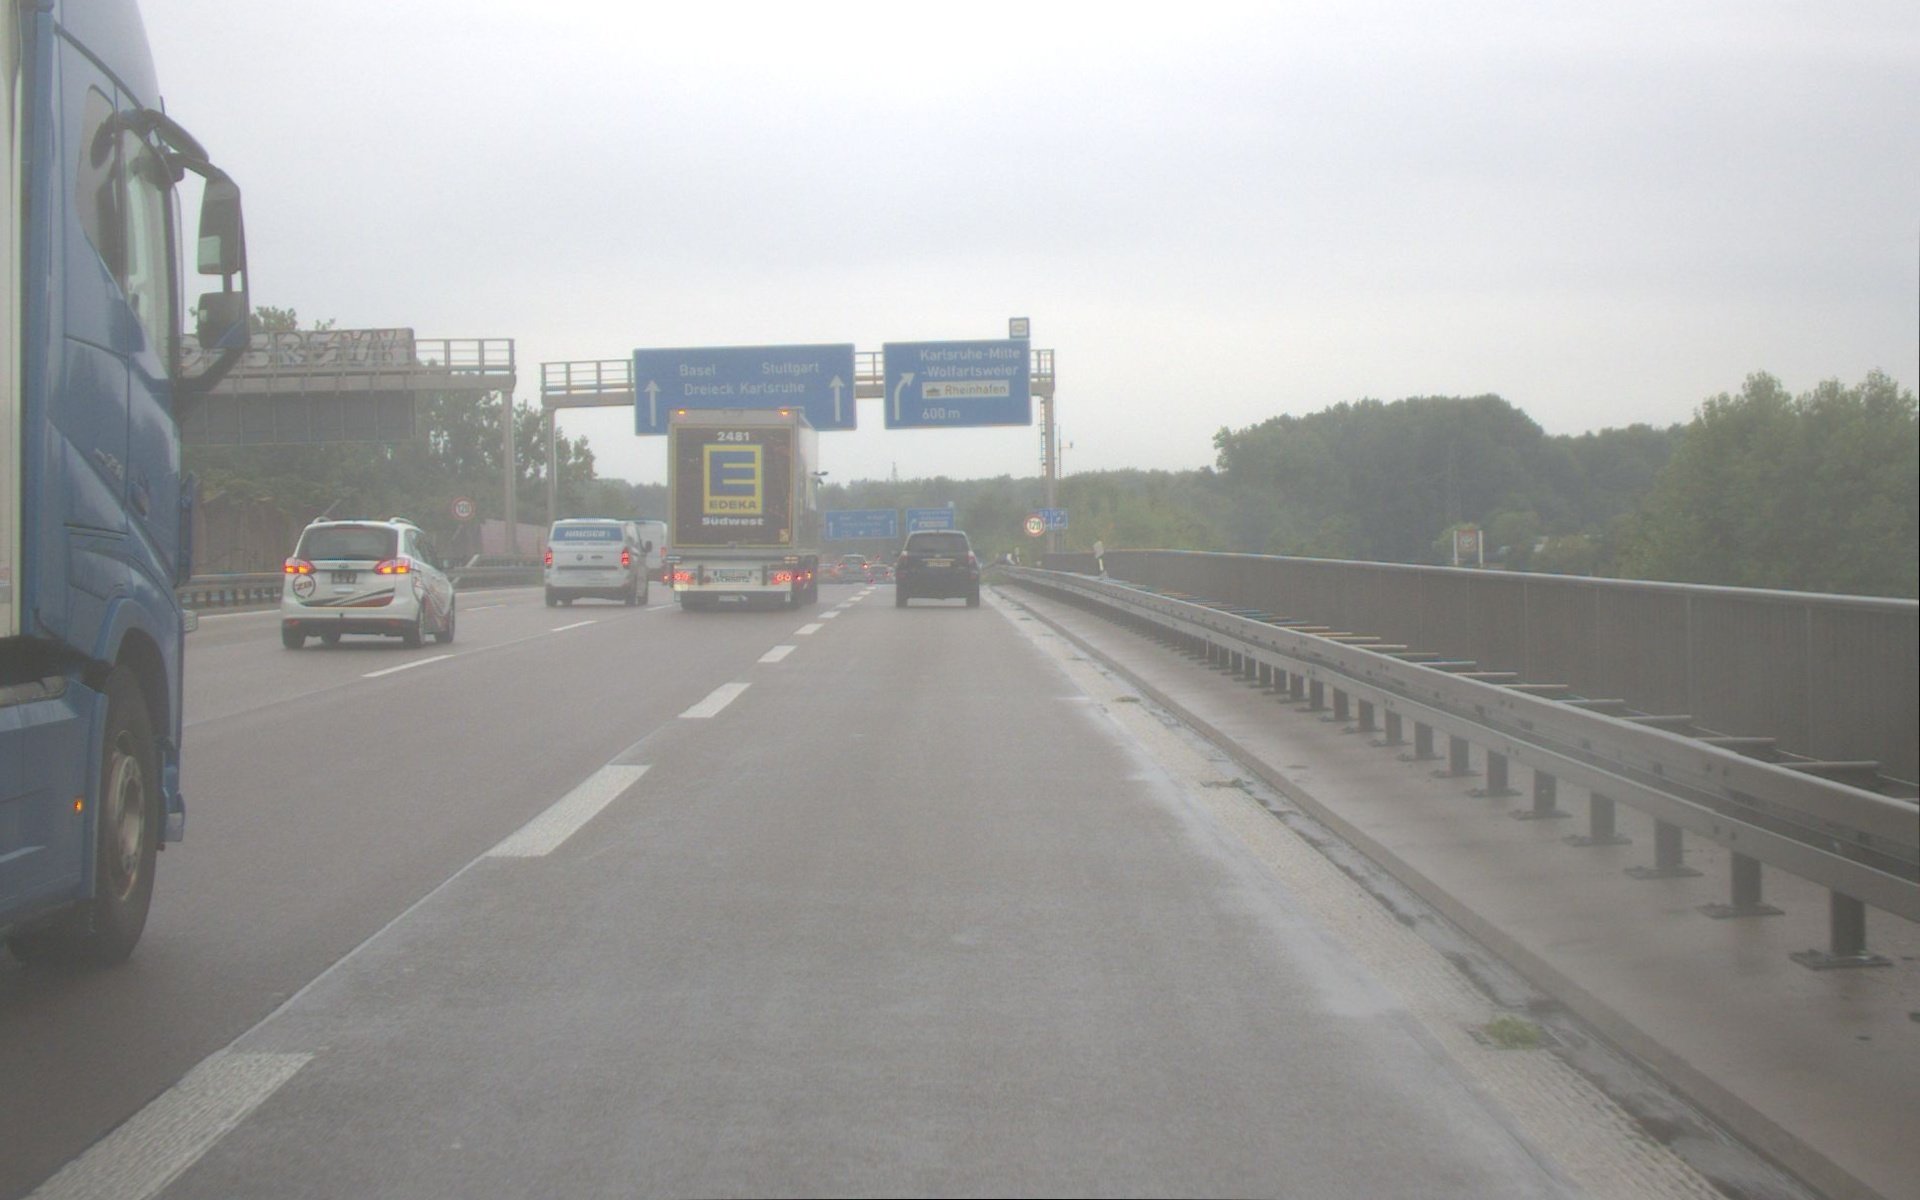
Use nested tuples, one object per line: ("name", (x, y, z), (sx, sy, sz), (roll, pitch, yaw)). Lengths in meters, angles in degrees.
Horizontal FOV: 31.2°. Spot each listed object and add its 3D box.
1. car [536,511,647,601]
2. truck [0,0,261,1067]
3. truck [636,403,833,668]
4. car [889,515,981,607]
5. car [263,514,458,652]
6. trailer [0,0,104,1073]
("car", (-8.175, -0.968, 76.543), (2.049, 1.943, 4.000), (1, 0, -1))
("truck", (-3.883, -0.767, 10.243), (2.342, 4.143, 6.347), (1, 1, -1))
("truck", (-4.618, -1.306, 72.480), (3.533, 5.165, 9.893), (1, 0, -1))
("car", (-0.522, -0.850, 75.325), (1.897, 1.943, 4.000), (1, 0, 1))
("car", (-7.845, -0.231, 45.312), (1.894, 1.718, 4.000), (1, 0, -1))
("trailer", (-3.797, -0.603, 3.372), (2.342, 4.143, 14.828), (1, 1, -1))
